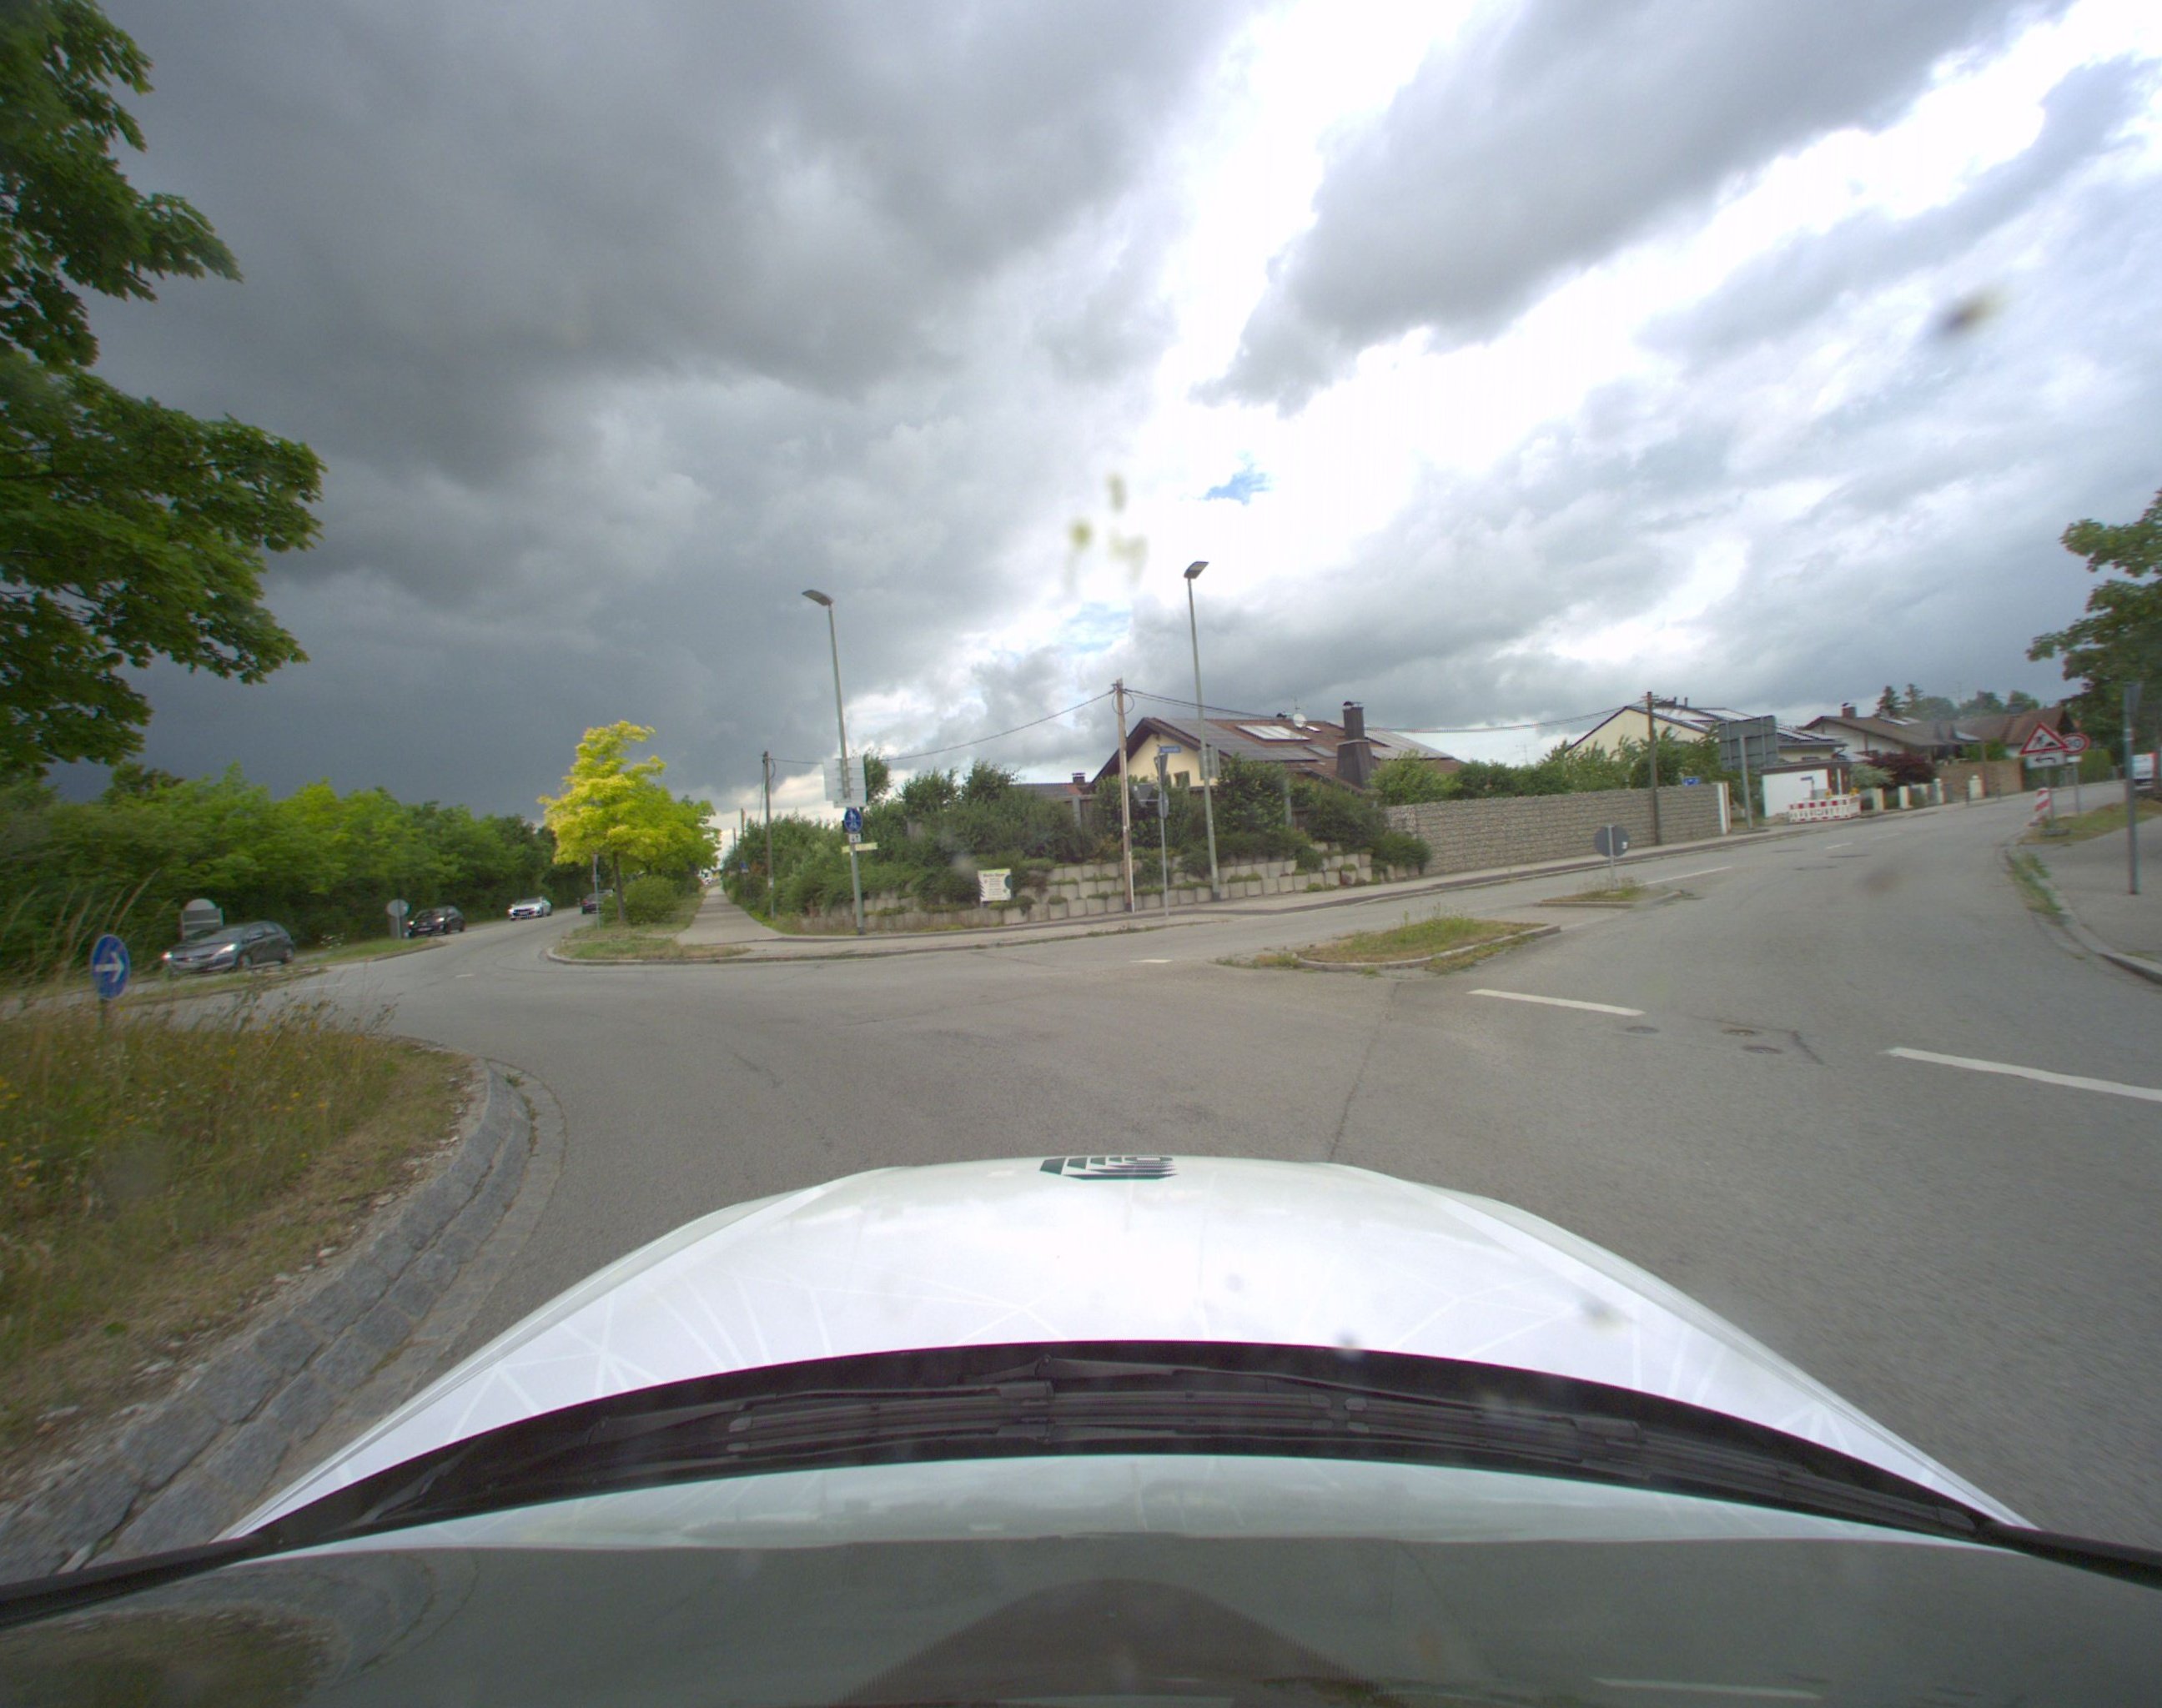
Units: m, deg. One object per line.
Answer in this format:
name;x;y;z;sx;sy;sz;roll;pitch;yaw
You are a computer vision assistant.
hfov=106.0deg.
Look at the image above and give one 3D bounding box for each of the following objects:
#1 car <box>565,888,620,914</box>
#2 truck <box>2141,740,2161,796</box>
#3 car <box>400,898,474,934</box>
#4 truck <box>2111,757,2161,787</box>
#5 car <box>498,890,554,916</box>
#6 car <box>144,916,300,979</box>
car;-34.210;3.247;57.183;2.217;1.454;4.910;-3;0;-19
truck;50.509;-4.032;37.238;4.412;2.469;1.750;-5;0;-29
car;-33.119;3.165;42.007;1.687;1.454;3.974;-3;0;-19
truck;67.623;-5.236;51.892;4.412;1.642;1.749;-5;1;-29
car;-39.680;3.486;58.406;2.222;1.454;4.906;-3;0;-22
car;-26.422;2.818;25.255;1.688;1.423;3.972;-3;0;-21
